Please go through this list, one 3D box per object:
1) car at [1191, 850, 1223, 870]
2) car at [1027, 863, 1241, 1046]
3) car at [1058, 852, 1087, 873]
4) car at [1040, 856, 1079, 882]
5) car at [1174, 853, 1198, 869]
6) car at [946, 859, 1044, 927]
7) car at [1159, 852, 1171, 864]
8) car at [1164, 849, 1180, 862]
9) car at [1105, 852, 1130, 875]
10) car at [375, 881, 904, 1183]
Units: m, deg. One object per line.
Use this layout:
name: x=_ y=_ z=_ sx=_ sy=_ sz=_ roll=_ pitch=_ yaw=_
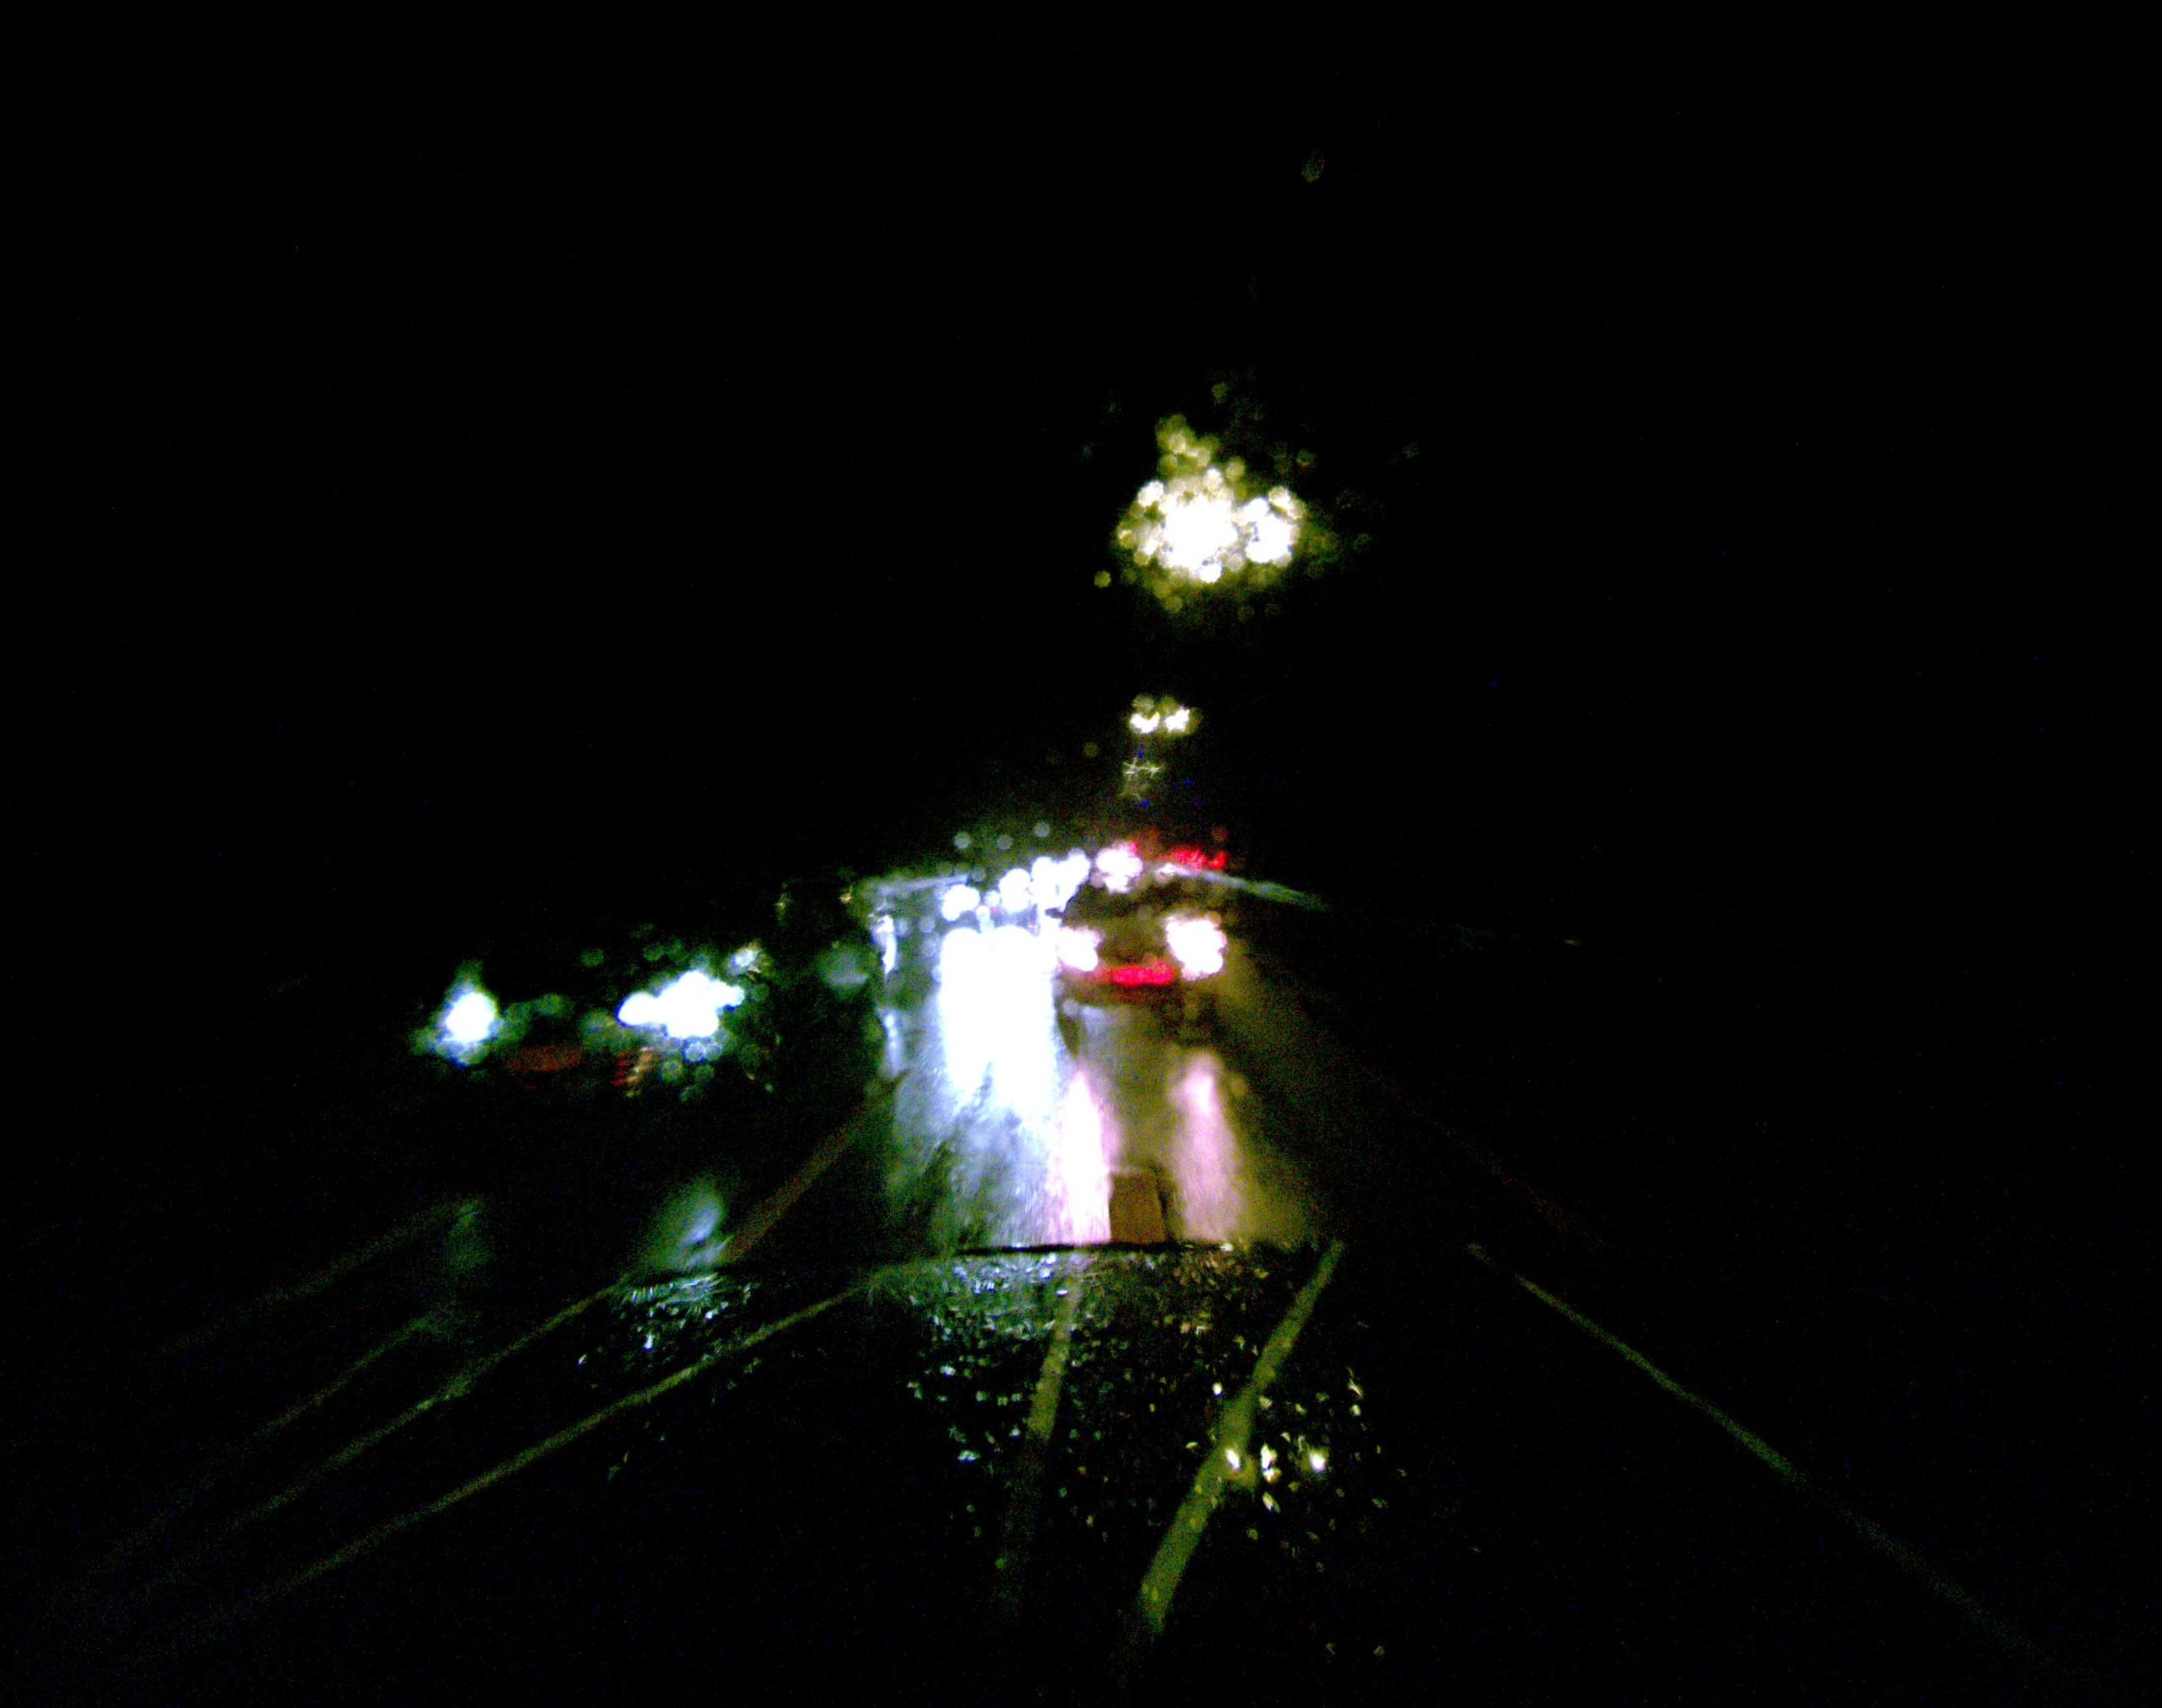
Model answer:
car: x=9.385 y=0.429 z=56.854 sx=1.820 sy=1.386 sz=4.462 roll=2 pitch=0 yaw=2
car: x=0.555 y=0.893 z=8.553 sx=1.764 sy=1.492 sz=4.001 roll=-3 pitch=-1 yaw=3
car: x=-0.604 y=0.680 z=60.399 sx=1.998 sy=1.531 sz=4.001 roll=-2 pitch=0 yaw=3
car: x=-1.283 y=0.873 z=47.165 sx=1.998 sy=1.455 sz=4.001 roll=-2 pitch=0 yaw=3
car: x=10.296 y=0.673 z=74.710 sx=1.813 sy=1.559 sz=4.000 roll=1 pitch=0 yaw=1
car: x=-2.151 y=0.955 z=20.311 sx=1.826 sy=1.476 sz=4.568 roll=-3 pitch=0 yaw=3
car: x=12.838 y=0.618 z=116.867 sx=1.624 sy=1.641 sz=4.000 roll=-1 pitch=1 yaw=3
car: x=11.111 y=0.208 z=92.622 sx=1.571 sy=1.533 sz=4.162 roll=1 pitch=1 yaw=2
car: x=3.269 y=0.831 z=68.614 sx=1.998 sy=1.774 sz=3.999 roll=-4 pitch=1 yaw=1
car: x=-3.054 y=1.096 z=6.672 sx=1.736 sy=1.440 sz=4.725 roll=-3 pitch=0 yaw=1
